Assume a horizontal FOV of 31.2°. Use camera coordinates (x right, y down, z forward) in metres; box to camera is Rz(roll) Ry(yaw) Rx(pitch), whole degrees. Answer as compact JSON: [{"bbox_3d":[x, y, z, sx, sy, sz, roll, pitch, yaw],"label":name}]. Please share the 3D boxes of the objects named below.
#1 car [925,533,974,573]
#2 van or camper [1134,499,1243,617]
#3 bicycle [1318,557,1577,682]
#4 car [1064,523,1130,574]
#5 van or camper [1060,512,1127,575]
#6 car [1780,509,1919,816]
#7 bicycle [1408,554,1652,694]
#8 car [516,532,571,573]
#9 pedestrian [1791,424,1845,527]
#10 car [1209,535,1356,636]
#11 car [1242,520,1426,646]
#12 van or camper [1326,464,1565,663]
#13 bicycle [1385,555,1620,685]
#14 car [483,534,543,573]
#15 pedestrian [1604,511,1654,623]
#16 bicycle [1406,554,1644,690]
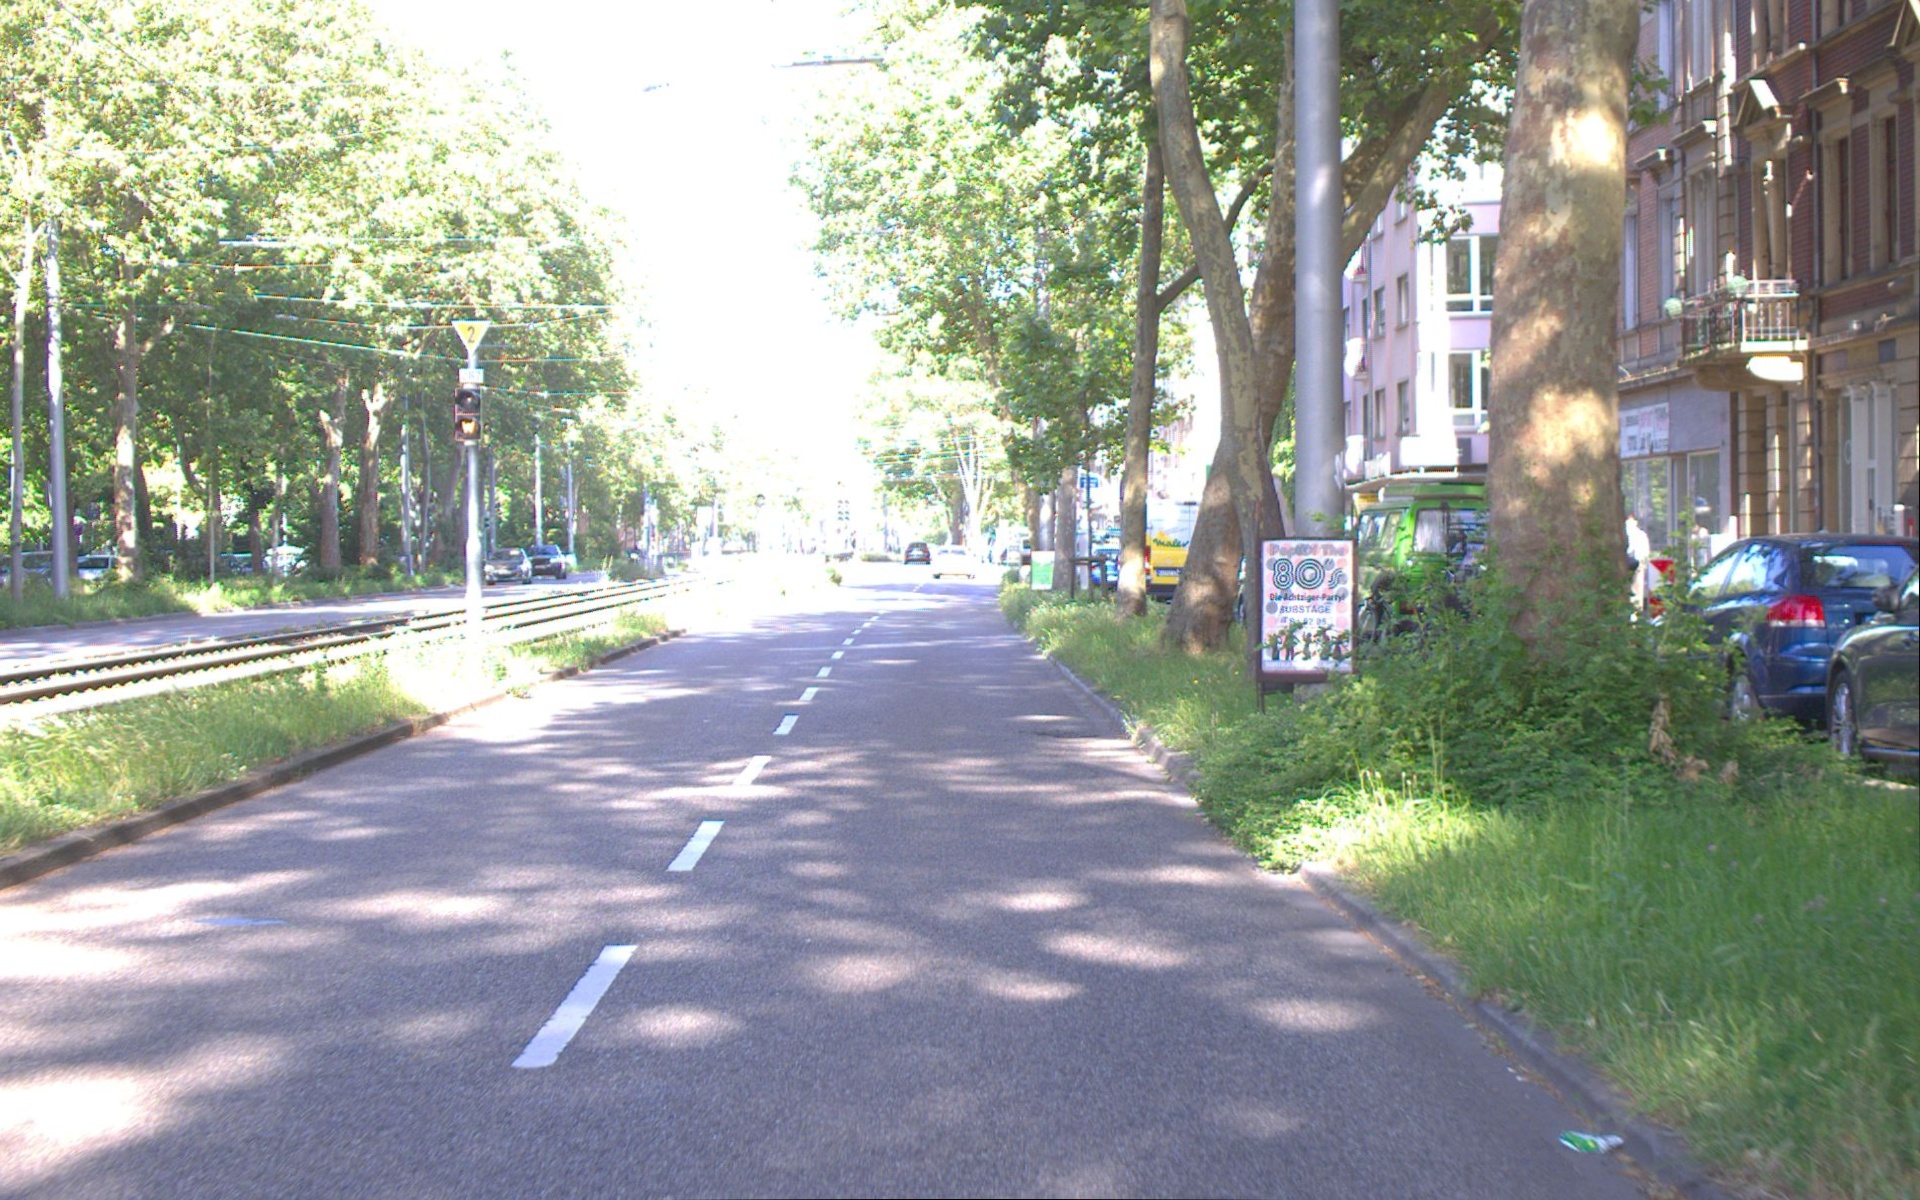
[{"bbox_3d":[-0.479,-1.998,146.509,2.021,1.656,4.000,0,1,-1],"label":"car"},{"bbox_3d":[5.114,-0.947,77.629,2.184,2.472,6.268,2,1,2],"label":"van or camper"},{"bbox_3d":[5.186,0.204,36.639,2.548,1.290,0.975,1,1,-7],"label":"bicycle"},{"bbox_3d":[4.177,-1.570,105.218,1.683,1.508,3.668,1,1,-3],"label":"car"},{"bbox_3d":[4.268,-1.801,110.604,1.839,1.956,5.127,1,1,-1],"label":"van or camper"},{"bbox_3d":[5.613,0.296,17.707,1.695,1.502,4.582,0,2,0],"label":"car"},{"bbox_3d":[5.423,0.217,32.827,2.164,1.290,0.983,1,1,2],"label":"bicycle"},{"bbox_3d":[-20.065,-2.319,165.839,1.993,1.864,4.873,-2,1,1],"label":"car"},{"bbox_3d":[12.321,-1.780,49.371,0.597,1.471,0.767,0,1,1],"label":"pedestrian"},{"bbox_3d":[5.084,-0.249,54.654,1.737,1.459,4.366,3,1,-2],"label":"car"},{"bbox_3d":[5.323,-0.260,49.466,1.890,1.641,4.801,3,1,-2],"label":"car"},{"bbox_3d":[5.564,-0.433,39.944,1.833,2.090,4.775,3,1,-2],"label":"van or camper"},{"bbox_3d":[5.553,0.202,35.265,2.163,1.290,0.983,1,1,-11],"label":"bicycle"},{"bbox_3d":[-18.301,-1.910,140.969,1.795,1.503,4.338,-3,1,0],"label":"car"},{"bbox_3d":[10.930,-0.545,56.175,0.702,1.816,0.612,0,1,-1],"label":"pedestrian"},{"bbox_3d":[5.565,0.207,33.978,2.164,1.290,0.983,1,1,0],"label":"bicycle"}]
